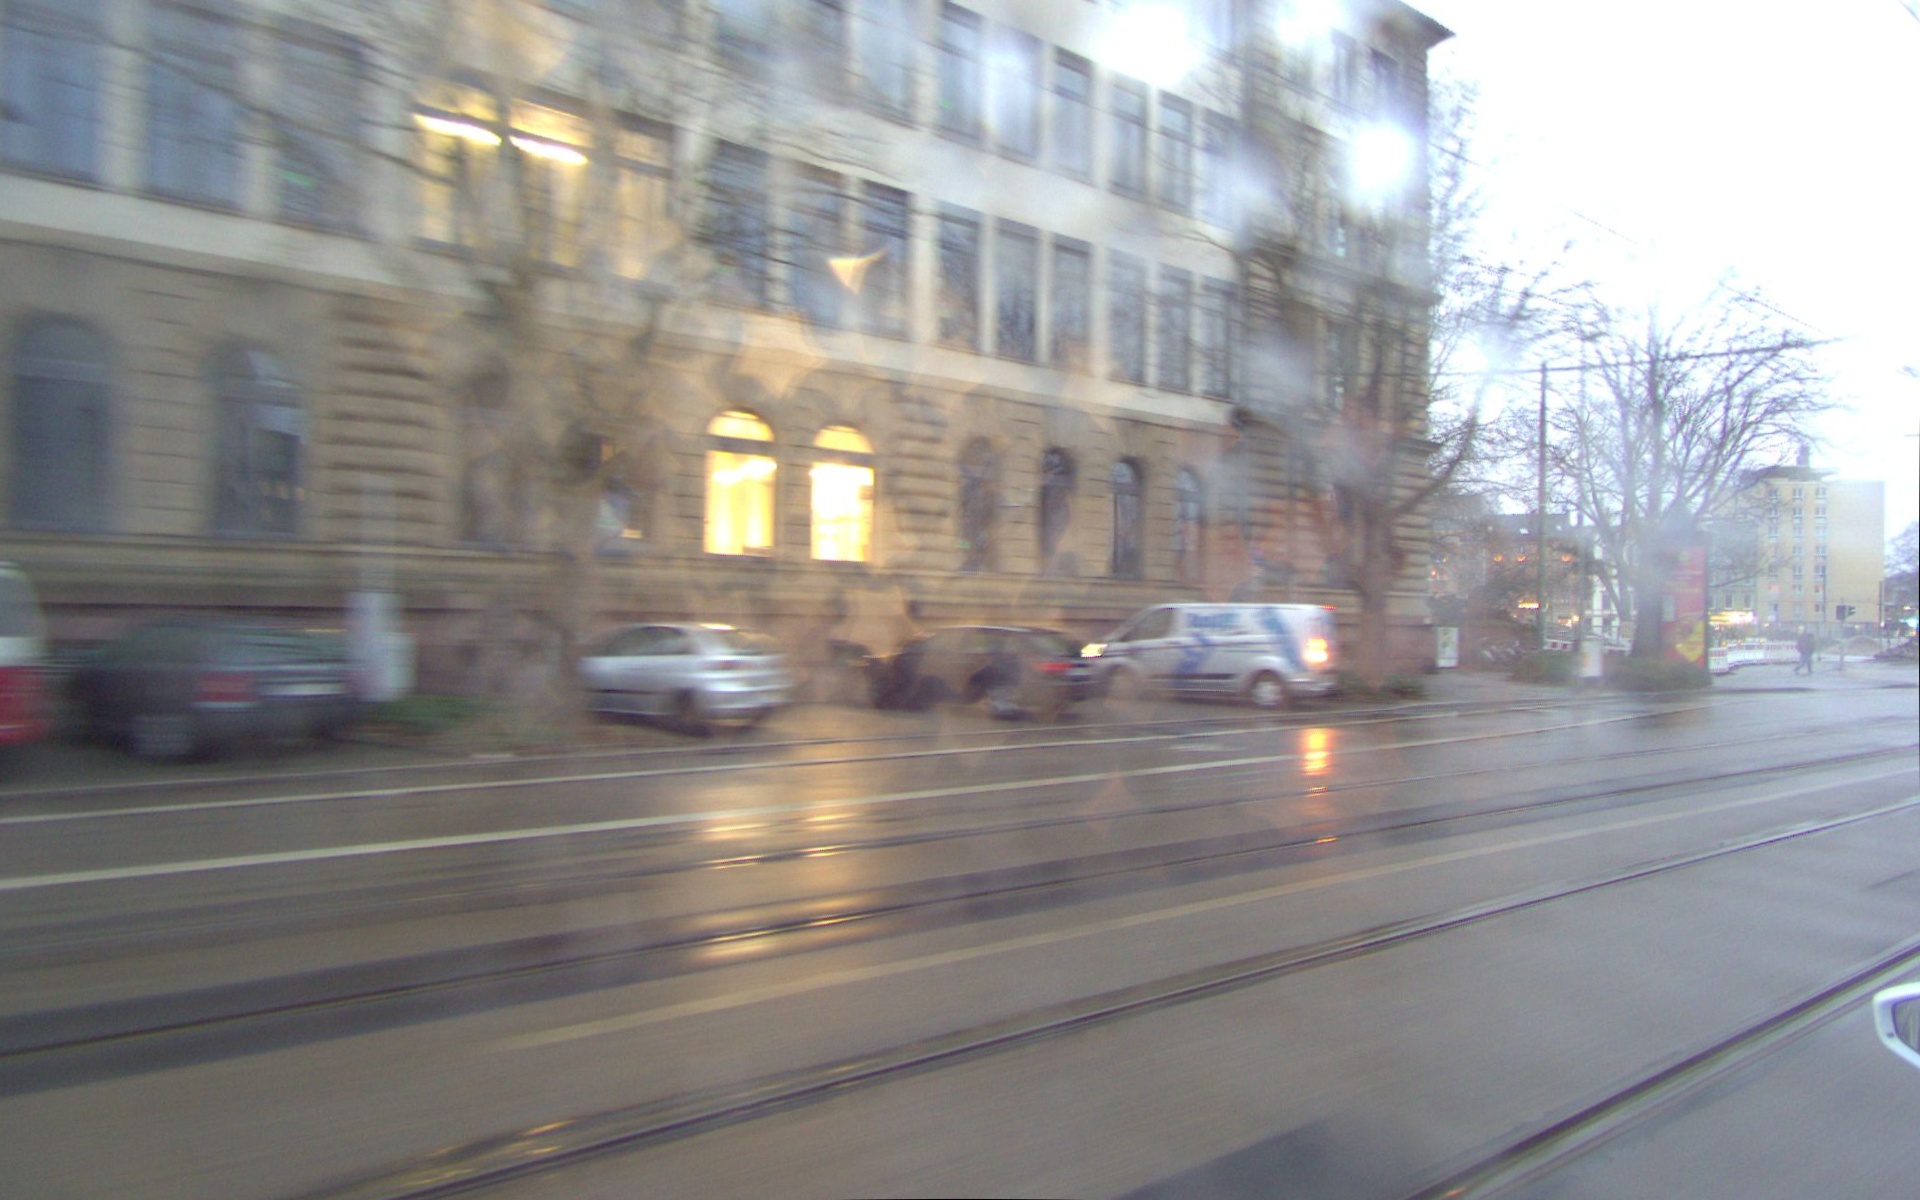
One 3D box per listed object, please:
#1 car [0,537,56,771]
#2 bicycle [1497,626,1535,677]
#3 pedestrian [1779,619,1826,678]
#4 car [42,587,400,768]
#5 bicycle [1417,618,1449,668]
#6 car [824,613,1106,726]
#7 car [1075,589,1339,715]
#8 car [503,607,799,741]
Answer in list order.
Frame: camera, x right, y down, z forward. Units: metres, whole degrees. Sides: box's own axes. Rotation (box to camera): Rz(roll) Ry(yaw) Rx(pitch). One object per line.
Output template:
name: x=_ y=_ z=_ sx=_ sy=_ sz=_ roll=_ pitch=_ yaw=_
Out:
car: x=-10.738 y=0.384 z=9.533 sx=4.541 sy=2.081 sz=1.962 roll=3 pitch=1 yaw=31
bicycle: x=20.029 y=1.819 z=36.241 sx=0.699 sy=1.711 sz=2.429 roll=2 pitch=1 yaw=19
pedestrian: x=35.569 y=2.051 z=42.416 sx=1.044 sy=2.402 sz=0.996 roll=2 pitch=1 yaw=-2
car: x=-8.246 y=0.717 z=11.146 sx=3.906 sy=1.560 sz=1.820 roll=3 pitch=1 yaw=31
bicycle: x=17.391 y=1.546 z=36.975 sx=0.699 sy=1.711 sz=2.429 roll=2 pitch=1 yaw=19
car: x=0.019 y=1.049 z=16.768 sx=4.399 sy=1.477 sz=1.796 roll=3 pitch=1 yaw=32
car: x=4.809 y=0.926 z=19.555 sx=4.710 sy=2.061 sz=1.912 roll=3 pitch=1 yaw=21
car: x=-4.282 y=0.921 z=13.875 sx=3.754 sy=1.477 sz=1.636 roll=3 pitch=1 yaw=25
